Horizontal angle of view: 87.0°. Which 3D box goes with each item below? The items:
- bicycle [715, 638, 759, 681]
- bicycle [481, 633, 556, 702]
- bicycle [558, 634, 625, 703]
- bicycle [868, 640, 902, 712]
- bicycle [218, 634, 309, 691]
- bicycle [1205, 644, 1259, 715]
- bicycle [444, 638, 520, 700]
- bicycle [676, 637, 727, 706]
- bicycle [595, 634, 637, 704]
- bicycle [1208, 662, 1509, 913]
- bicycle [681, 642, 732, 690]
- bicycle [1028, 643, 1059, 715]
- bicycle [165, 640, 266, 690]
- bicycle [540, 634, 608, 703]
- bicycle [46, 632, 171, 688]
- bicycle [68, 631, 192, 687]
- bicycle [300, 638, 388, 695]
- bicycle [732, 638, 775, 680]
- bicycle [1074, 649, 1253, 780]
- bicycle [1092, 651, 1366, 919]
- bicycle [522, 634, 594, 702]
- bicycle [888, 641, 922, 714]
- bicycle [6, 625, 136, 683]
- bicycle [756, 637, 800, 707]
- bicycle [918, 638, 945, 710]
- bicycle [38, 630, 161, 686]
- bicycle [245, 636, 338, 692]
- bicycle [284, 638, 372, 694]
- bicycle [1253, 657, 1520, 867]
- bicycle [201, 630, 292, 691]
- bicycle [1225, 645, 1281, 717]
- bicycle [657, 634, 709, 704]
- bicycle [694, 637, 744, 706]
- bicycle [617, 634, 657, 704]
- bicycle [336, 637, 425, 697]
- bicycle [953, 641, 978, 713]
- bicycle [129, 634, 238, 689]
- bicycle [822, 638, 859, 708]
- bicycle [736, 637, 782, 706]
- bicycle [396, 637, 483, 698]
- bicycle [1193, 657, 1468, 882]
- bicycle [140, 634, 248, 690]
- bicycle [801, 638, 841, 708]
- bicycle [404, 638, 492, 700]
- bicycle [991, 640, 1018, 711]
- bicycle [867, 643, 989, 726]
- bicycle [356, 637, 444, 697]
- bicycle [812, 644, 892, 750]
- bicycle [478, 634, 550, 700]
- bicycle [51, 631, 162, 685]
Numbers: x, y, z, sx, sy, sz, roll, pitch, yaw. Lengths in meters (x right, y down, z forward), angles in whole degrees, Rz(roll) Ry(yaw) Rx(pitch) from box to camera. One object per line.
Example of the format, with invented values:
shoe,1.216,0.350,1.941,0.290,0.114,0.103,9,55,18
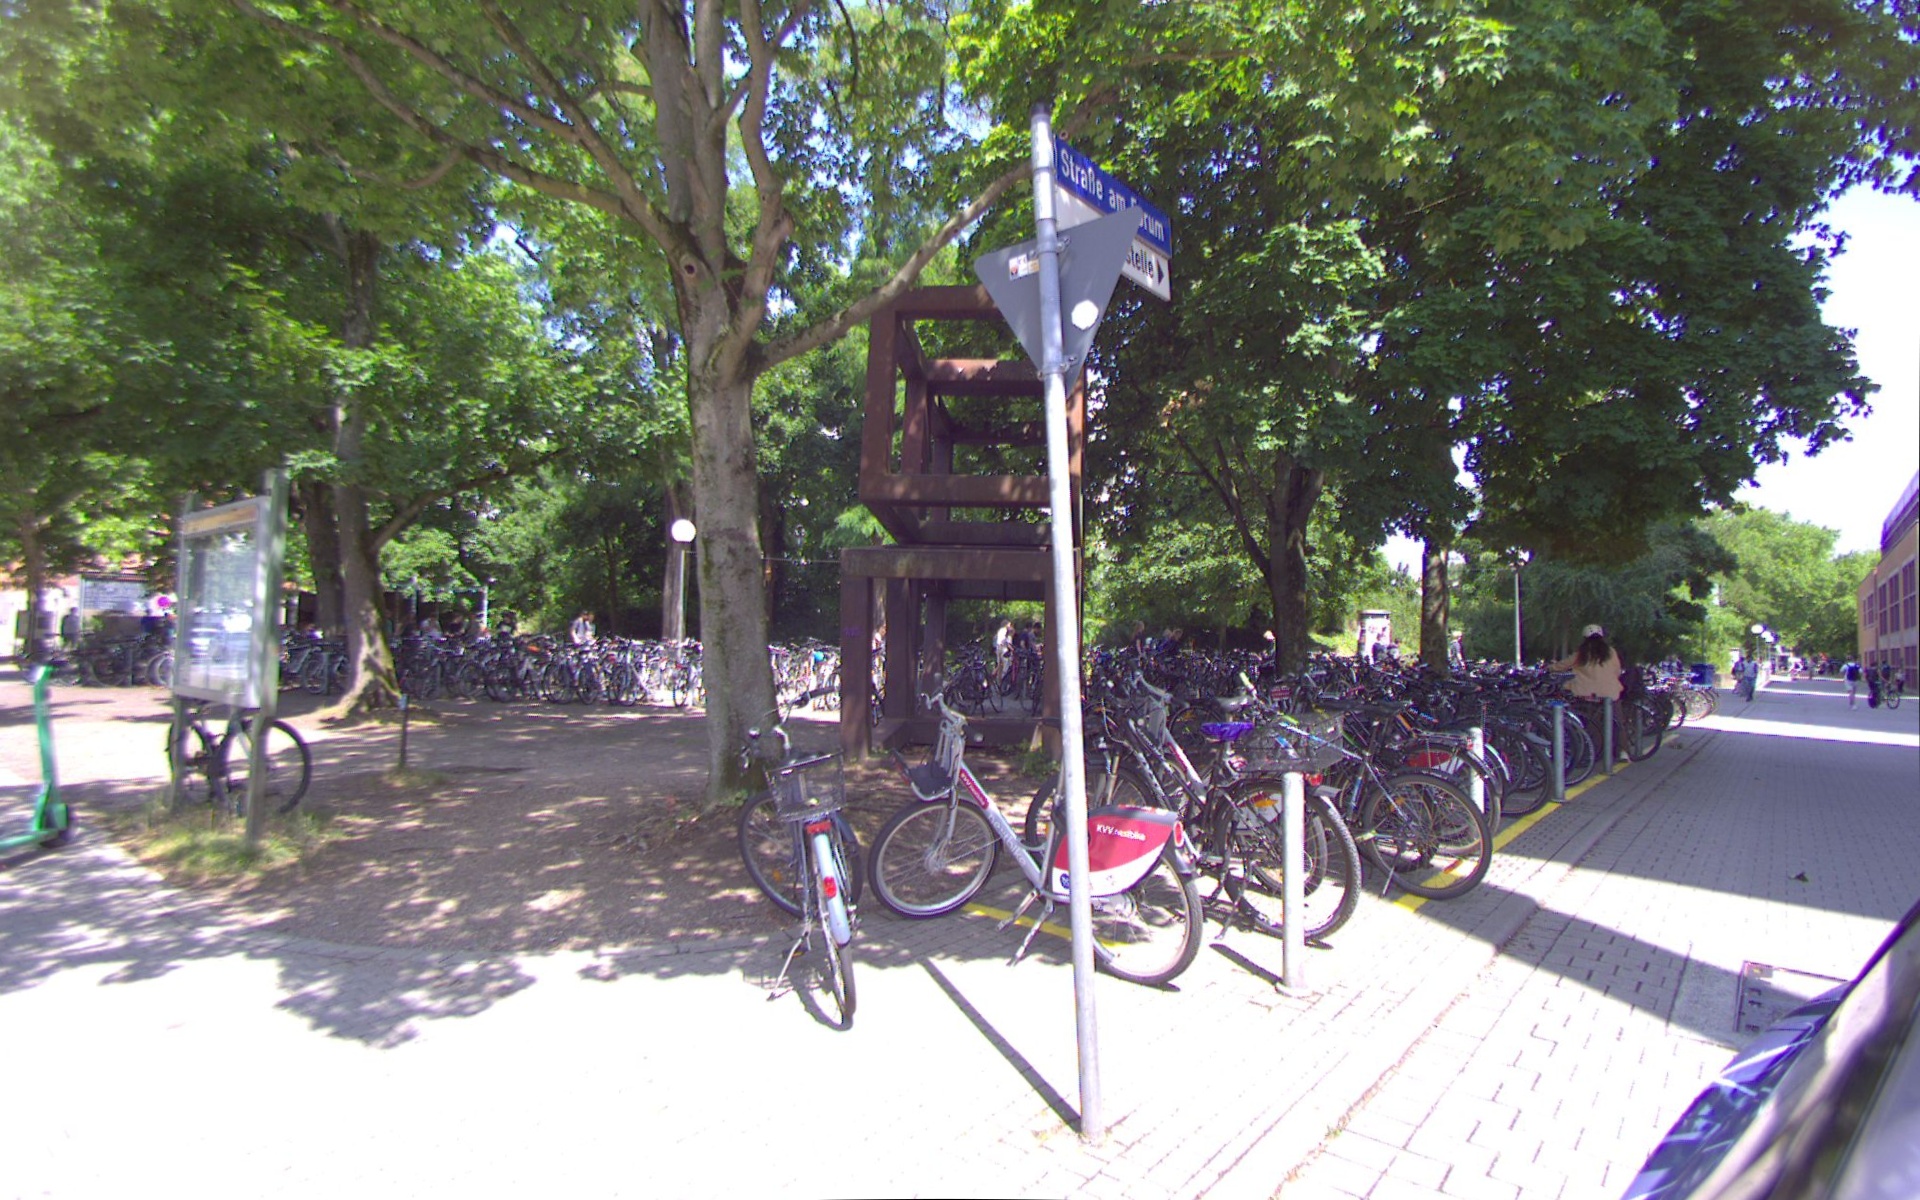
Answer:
bicycle,-5.521,1.455,25.173,0.372,0.991,1.898,0,-2,10
bicycle,-8.093,1.211,18.627,0.396,1.185,1.789,1,-2,6
bicycle,-6.736,1.229,18.577,0.339,1.185,1.841,1,-2,6
bicycle,-1.317,1.316,17.904,0.346,1.185,1.843,1,-2,3
bicycle,-13.693,1.202,19.953,0.485,1.066,1.736,1,-2,4
bicycle,4.914,1.416,18.388,0.339,1.185,1.846,1,-2,-5
bicycle,-8.916,1.270,18.944,0.419,1.084,1.790,1,-2,4
bicycle,-4.701,1.275,18.482,0.339,1.185,1.843,1,-2,3
bicycle,-6.240,1.228,18.425,0.338,1.185,1.847,1,-2,-7
bicycle,2.109,0.933,5.453,1.433,1.099,0.454,1,0,38
bicycle,-5.652,1.463,22.689,0.372,0.991,1.898,0,-2,10
bicycle,1.467,1.365,17.968,0.406,1.185,1.844,1,-2,1
bicycle,-14.872,1.278,20.266,0.487,0.921,1.732,1,-2,11
bicycle,-7.079,1.226,18.637,0.339,1.185,1.841,1,-2,6
bicycle,-17.645,1.228,21.028,0.401,1.096,1.930,0,-2,28
bicycle,-16.989,1.194,20.772,0.401,1.096,1.930,0,-2,28
bicycle,-11.927,1.263,19.669,0.375,1.041,1.788,1,-2,8
bicycle,-5.103,1.444,25.085,0.372,0.991,1.898,0,-2,10
bicycle,1.970,1.081,10.021,0.456,1.091,1.824,1,0,-41
bicycle,1.392,0.901,5.500,0.482,1.156,1.528,1,0,-30
bicycle,-7.432,1.223,18.780,0.396,1.185,1.841,1,-2,6
bicycle,-0.951,1.316,17.700,0.381,1.185,1.843,1,-2,3
bicycle,-19.196,1.154,21.907,0.646,1.182,2.000,0,-2,28
bicycle,-3.289,1.276,18.428,0.346,1.185,1.843,1,-2,3
bicycle,-0.491,1.282,17.923,0.381,1.185,1.844,1,-2,1
bicycle,-17.980,1.196,21.204,0.401,1.096,1.930,0,-2,28
bicycle,-13.209,1.247,20.065,0.433,1.041,1.792,1,-2,8
bicycle,-12.339,1.271,19.833,0.375,1.041,1.788,1,-2,8
bicycle,2.689,0.964,6.494,0.474,1.099,1.511,1,0,-44
bicycle,-14.347,1.189,20.407,0.485,1.170,1.736,1,-2,4
bicycle,5.266,1.429,18.275,0.339,1.185,1.846,1,-2,-5
bicycle,-5.040,1.229,18.510,0.339,1.185,1.843,1,-2,3
bicycle,-4.370,1.273,18.457,0.339,1.185,1.843,1,-2,3
bicycle,-5.874,1.225,18.456,0.338,1.185,1.847,1,-2,-7
bicycle,-11.093,1.253,19.435,0.419,1.084,1.787,1,-2,10
bicycle,0.115,1.345,18.015,0.406,1.185,1.844,1,-2,1
bicycle,-15.884,1.238,20.764,0.321,1.073,1.902,0,-2,17
bicycle,-2.158,1.296,18.405,0.346,1.185,1.843,1,-2,3
bicycle,-3.654,1.277,18.494,0.346,1.185,1.843,1,-2,3
bicycle,-9.879,1.254,19.289,0.420,1.084,1.786,1,-2,12
bicycle,2.161,0.935,6.026,1.468,1.099,0.454,1,0,42
bicycle,-15.596,1.238,20.659,0.321,1.073,1.902,0,-2,17
bicycle,-2.510,1.298,18.418,0.346,1.185,1.843,1,-2,3
bicycle,-9.538,1.255,18.925,0.420,1.084,1.786,1,-2,12
bicycle,0.787,1.331,18.201,0.406,1.185,1.844,1,-2,1
bicycle,-0.433,1.163,14.019,1.640,1.124,0.475,0,-3,4
bicycle,-10.667,1.252,19.352,0.419,1.084,1.787,1,-2,10
bicycle,-1.228,1.083,11.834,0.621,1.124,1.922,0,-3,3
bicycle,-8.434,1.243,19.216,0.396,1.185,1.789,1,-2,6
bicycle,-18.221,1.218,21.651,0.434,1.096,1.755,0,-2,28
